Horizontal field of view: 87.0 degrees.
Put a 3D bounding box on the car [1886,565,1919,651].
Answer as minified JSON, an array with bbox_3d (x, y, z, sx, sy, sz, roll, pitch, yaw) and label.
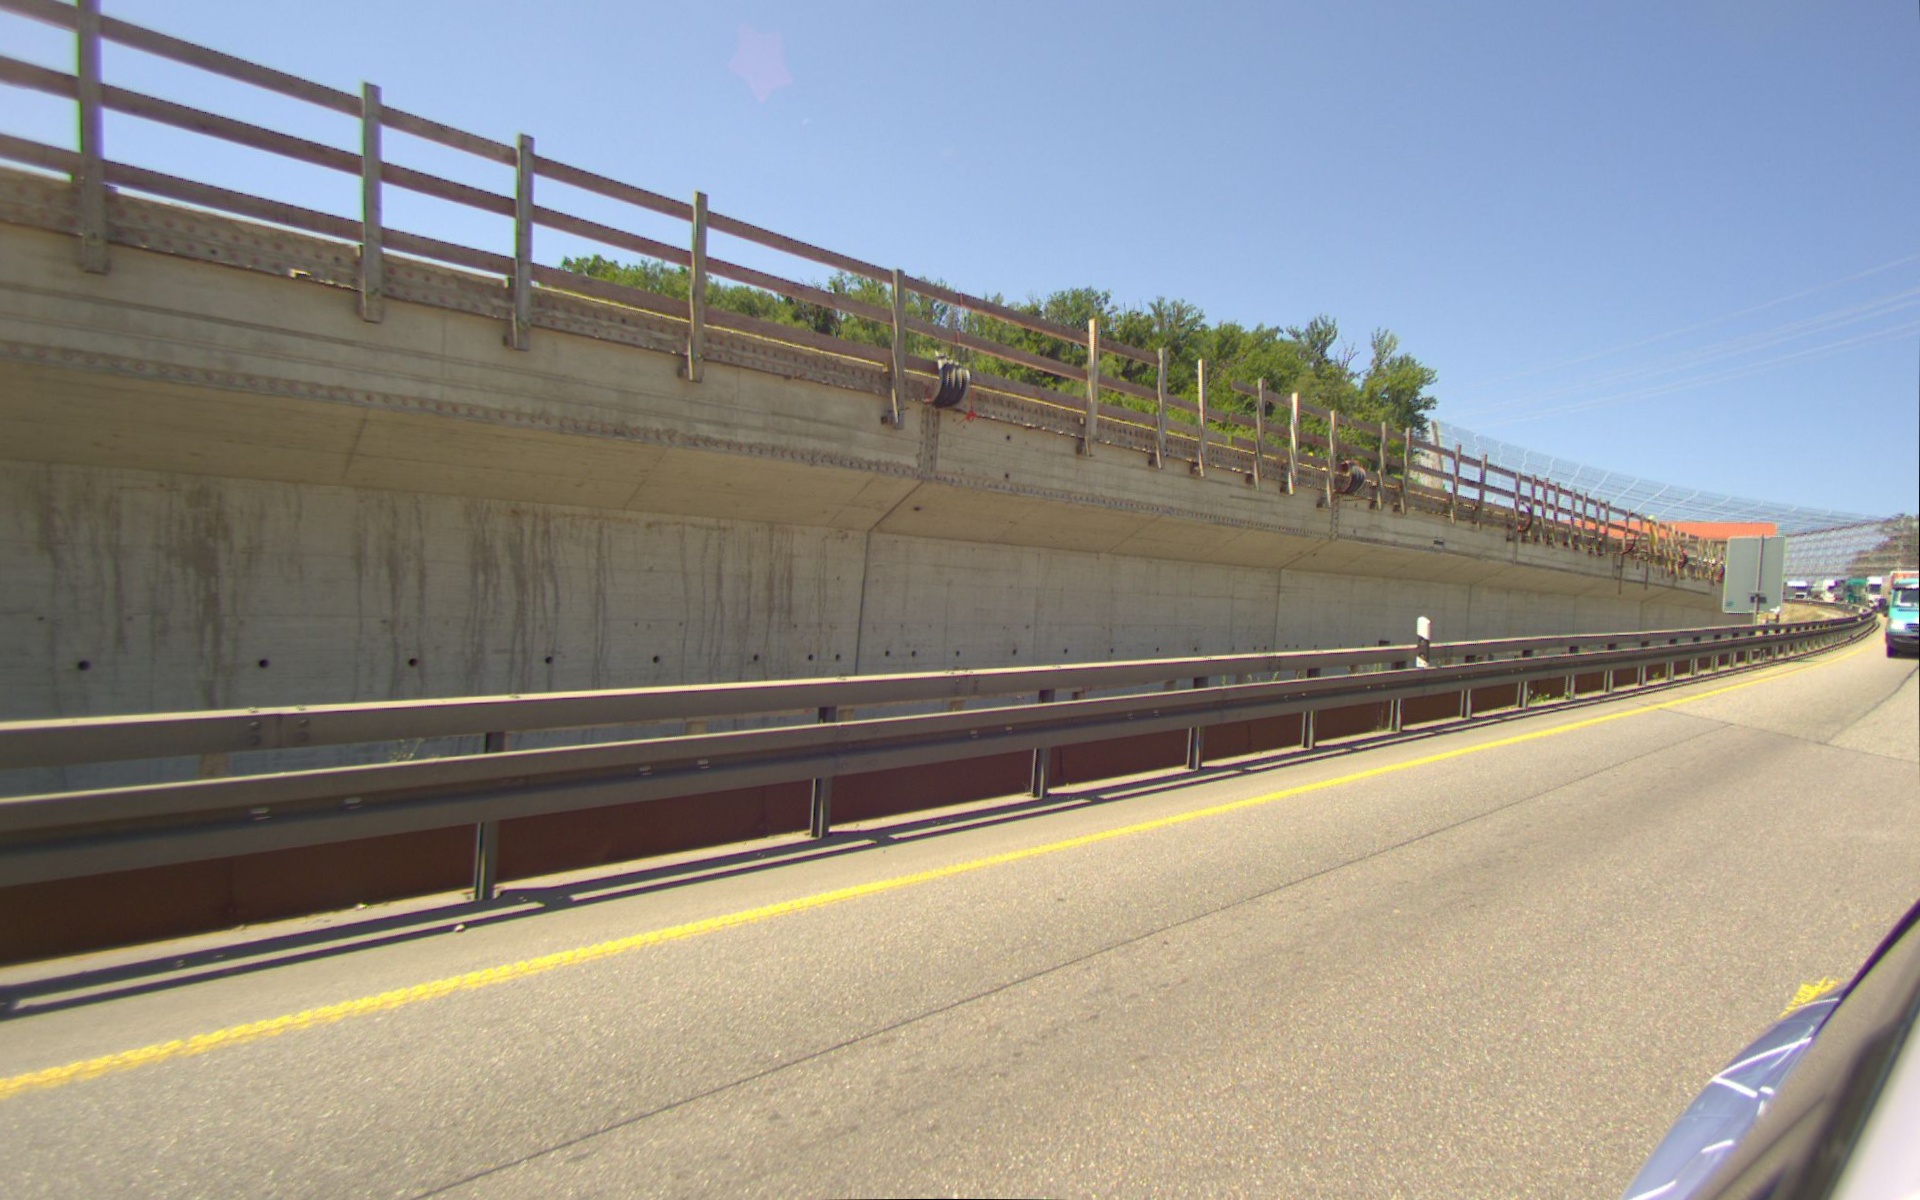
[{"bbox_3d":[28.944,0.195,29.736,6.789,2.355,2.213,0,1,-45],"label":"car"}]

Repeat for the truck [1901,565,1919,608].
[{"bbox_3d":[81.477,-1.142,85.550,2.462,3.528,9.723,0,0,41],"label":"truck"}]
